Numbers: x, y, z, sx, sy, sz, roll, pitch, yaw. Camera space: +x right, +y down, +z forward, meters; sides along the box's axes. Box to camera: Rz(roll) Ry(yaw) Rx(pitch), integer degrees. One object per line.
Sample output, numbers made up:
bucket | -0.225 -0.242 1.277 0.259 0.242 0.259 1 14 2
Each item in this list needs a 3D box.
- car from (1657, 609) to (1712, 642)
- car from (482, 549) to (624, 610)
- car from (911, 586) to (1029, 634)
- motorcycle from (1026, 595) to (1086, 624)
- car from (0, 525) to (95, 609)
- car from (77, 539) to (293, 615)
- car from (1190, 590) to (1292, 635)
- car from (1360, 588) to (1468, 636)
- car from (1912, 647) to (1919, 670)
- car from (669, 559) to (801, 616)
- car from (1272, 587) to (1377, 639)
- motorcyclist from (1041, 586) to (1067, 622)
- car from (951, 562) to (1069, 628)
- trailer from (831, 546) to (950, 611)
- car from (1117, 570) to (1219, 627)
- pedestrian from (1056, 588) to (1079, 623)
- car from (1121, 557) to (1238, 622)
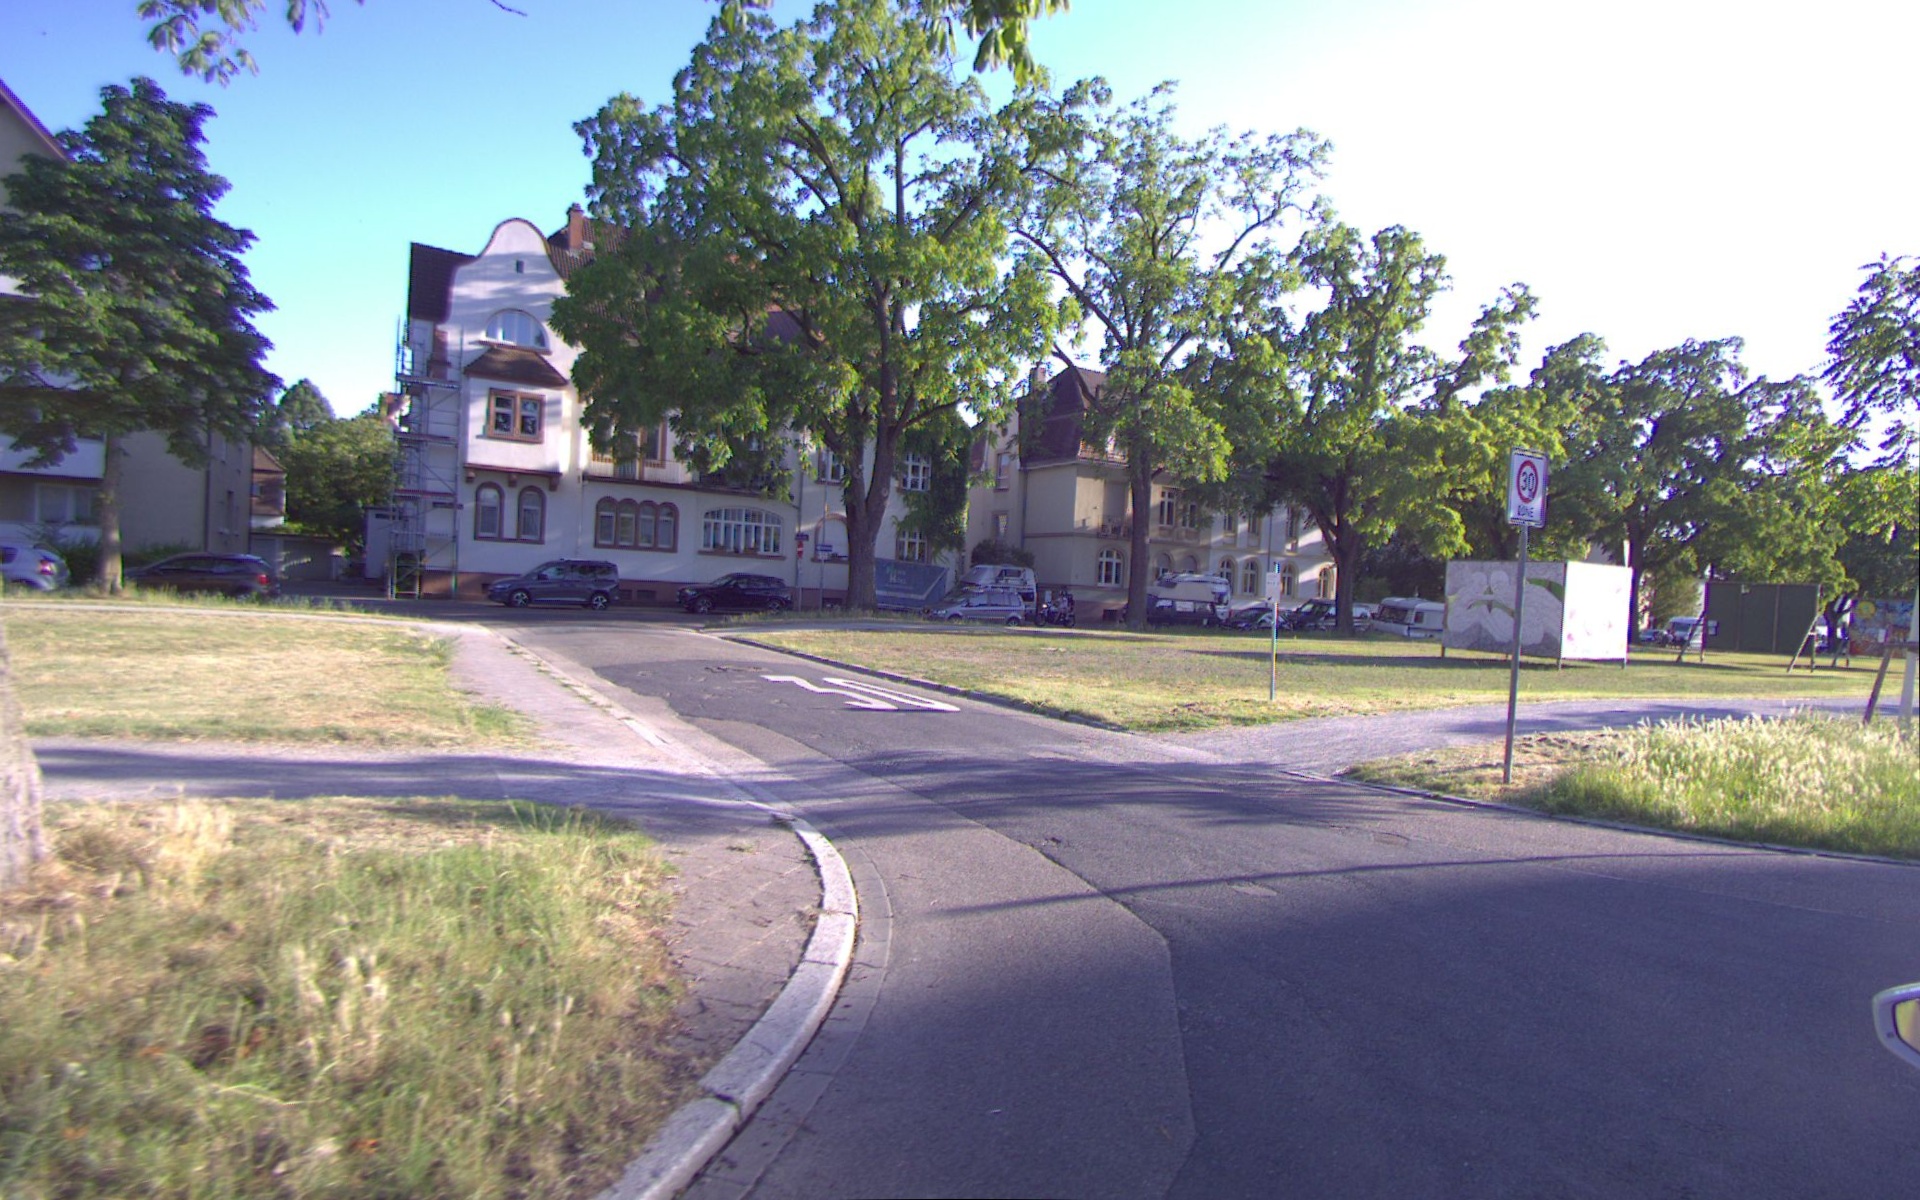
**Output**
car | 58.422 2.073 81.029 4.313 2.441 1.984 3 -1 -30
car | -14.810 -0.729 36.599 4.449 1.901 1.981 3 1 -34
car | 0.414 0.405 38.853 4.264 1.580 1.676 3 1 -30
motorcycle | 4.320 0.422 45.038 2.485 1.141 0.942 3 -1 -23
car | -23.901 -0.894 24.211 4.205 1.885 1.984 3 2 -30
car | -20.361 -0.600 26.665 4.205 1.671 1.984 3 2 -30
car | 13.068 0.576 46.676 4.432 1.817 1.984 3 1 -30
car | 24.151 0.646 53.385 5.395 2.266 2.522 2 1 -30
car | 95.623 5.851 97.314 6.812 2.176 3.145 4 -1 -30
car | -9.023 -0.498 40.370 4.698 1.978 1.982 3 1 -32
car | 18.003 0.650 49.569 5.127 2.280 1.983 3 1 -31
motorcyclist | 4.207 0.192 44.989 0.775 1.552 0.929 3 -1 -22
car | 2.359 -0.213 46.875 5.127 2.708 1.984 3 1 -30
trailer | -2.983 -0.923 43.613 4.669 2.460 1.984 3 1 -30
car | 9.136 -0.051 44.094 4.264 2.205 1.676 3 1 -30
pedestrian | 4.846 0.246 45.250 0.591 1.552 0.927 3 -1 -22
car | 11.439 -0.510 52.292 5.752 2.960 2.425 3 -1 -31
